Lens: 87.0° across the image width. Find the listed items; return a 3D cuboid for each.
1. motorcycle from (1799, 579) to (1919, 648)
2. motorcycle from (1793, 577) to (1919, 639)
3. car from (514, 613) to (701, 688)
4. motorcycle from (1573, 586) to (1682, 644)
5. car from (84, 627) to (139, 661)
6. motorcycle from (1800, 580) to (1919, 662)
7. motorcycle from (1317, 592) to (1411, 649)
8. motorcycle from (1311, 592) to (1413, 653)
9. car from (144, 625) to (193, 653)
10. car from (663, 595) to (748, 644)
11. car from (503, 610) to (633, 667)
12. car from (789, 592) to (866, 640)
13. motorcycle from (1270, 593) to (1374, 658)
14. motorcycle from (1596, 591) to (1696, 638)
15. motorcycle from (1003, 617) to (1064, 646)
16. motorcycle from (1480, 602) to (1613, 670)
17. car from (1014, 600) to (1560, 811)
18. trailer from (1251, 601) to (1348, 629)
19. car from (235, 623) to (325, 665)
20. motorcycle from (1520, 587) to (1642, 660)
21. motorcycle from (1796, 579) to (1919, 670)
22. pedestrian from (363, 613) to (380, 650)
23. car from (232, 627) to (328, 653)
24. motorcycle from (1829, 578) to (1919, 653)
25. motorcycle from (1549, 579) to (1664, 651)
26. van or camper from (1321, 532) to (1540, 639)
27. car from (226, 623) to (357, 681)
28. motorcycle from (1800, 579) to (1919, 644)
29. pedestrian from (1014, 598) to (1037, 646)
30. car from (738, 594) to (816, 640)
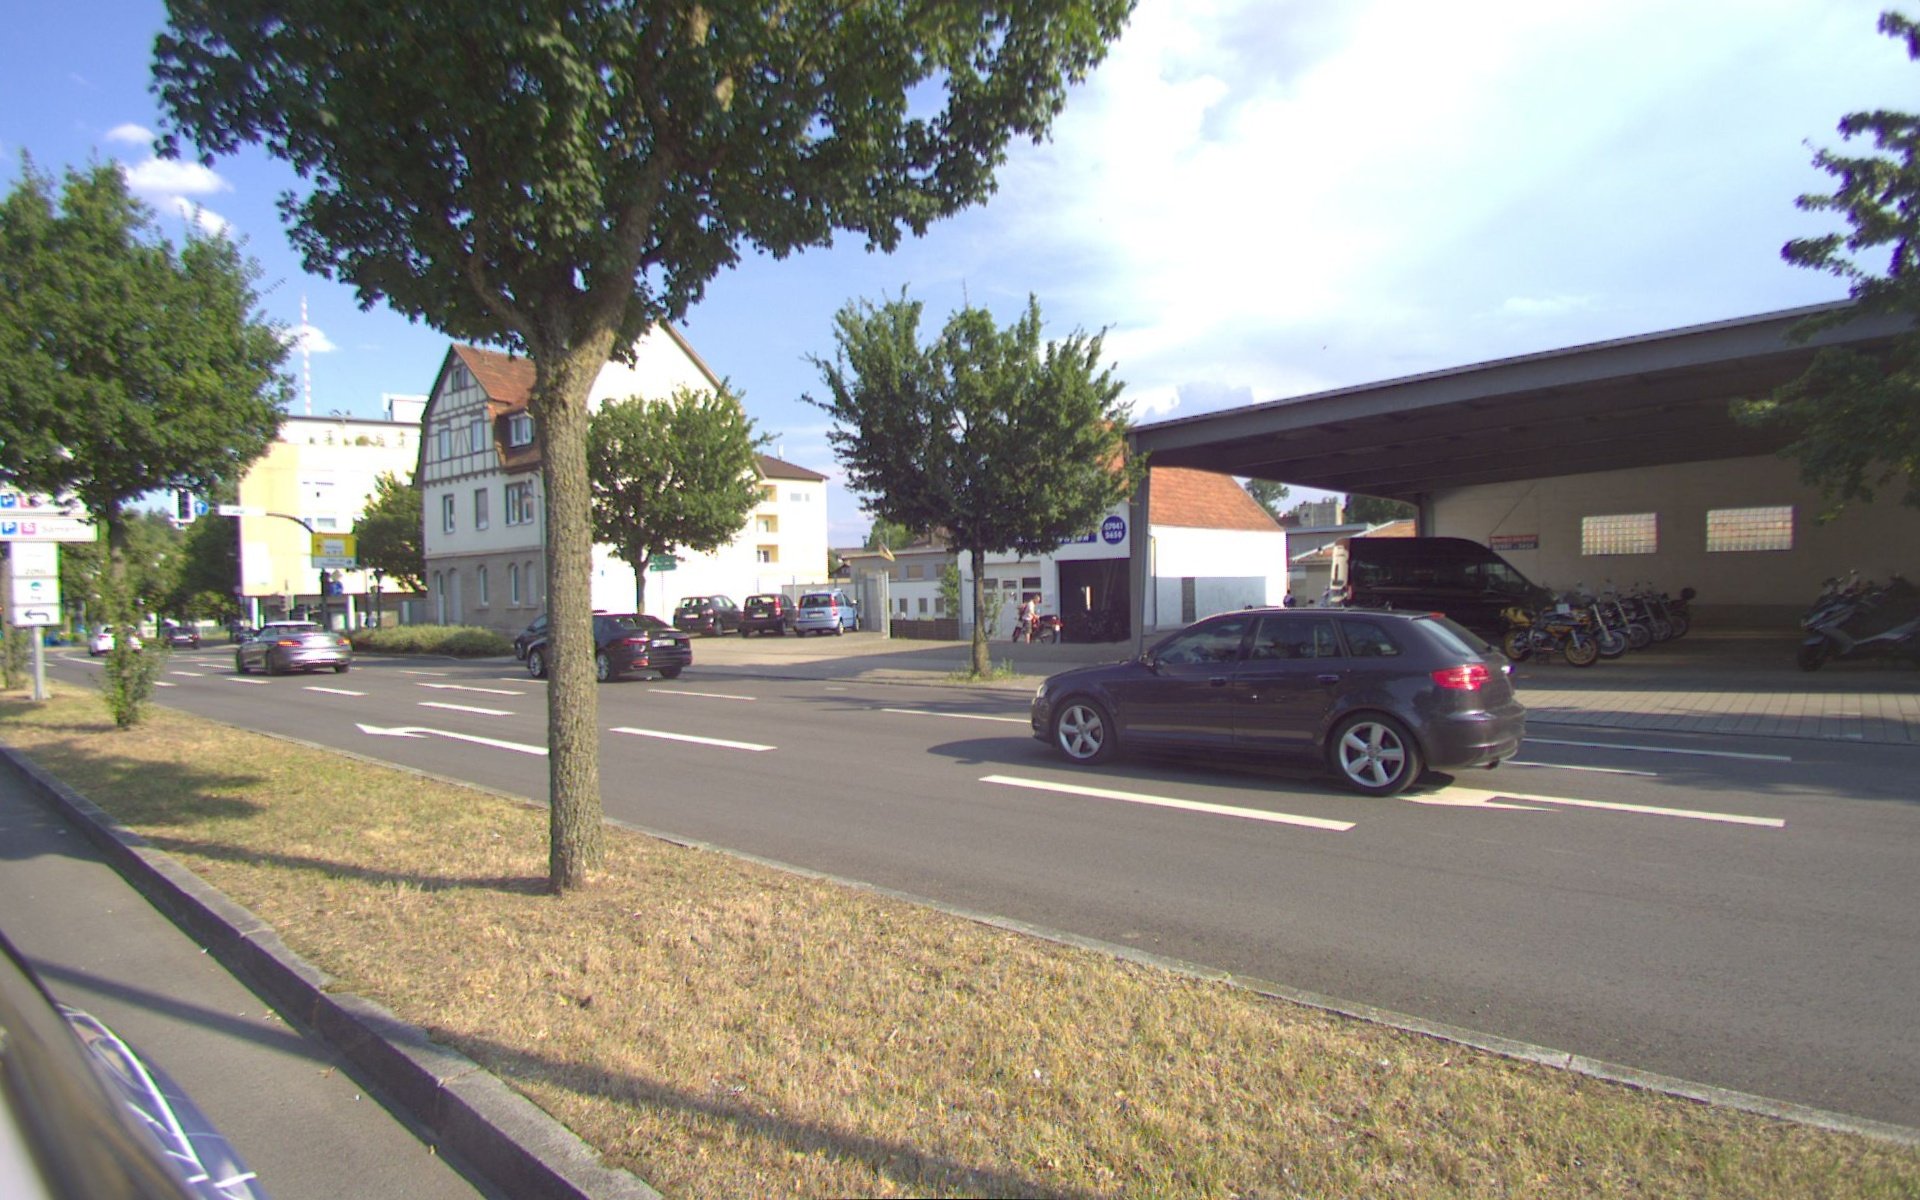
[{"bbox_3d":[17.969,0.269,19.994,2.068,1.317,0.581,-1,0,12],"label":"motorcycle"},{"bbox_3d":[19.913,0.177,22.526,2.068,1.317,0.561,-1,0,12],"label":"motorcycle"},{"bbox_3d":[-7.784,1.043,22.141,4.642,1.432,1.824,-1,0,41],"label":"car"},{"bbox_3d":[15.438,0.344,23.481,0.636,1.268,2.161,-1,0,-19],"label":"motorcycle"},{"bbox_3d":[-40.099,2.044,47.798,1.780,1.508,3.959,-1,0,-43],"label":"car"},{"bbox_3d":[15.267,0.342,16.737,2.068,1.317,0.561,-1,0,12],"label":"motorcycle"},{"bbox_3d":[9.791,0.490,24.551,1.982,1.321,0.649,-1,0,5],"label":"motorcycle"},{"bbox_3d":[9.023,0.498,22.771,1.982,1.321,0.649,-1,0,5],"label":"motorcycle"},{"bbox_3d":[-46.264,2.266,59.146,1.786,1.508,4.248,-1,0,-45],"label":"car"},{"bbox_3d":[-9.424,0.680,37.800,1.747,1.563,3.992,-2,1,7],"label":"car"},{"bbox_3d":[-11.738,1.115,30.160,4.193,1.454,1.816,-1,3,41],"label":"car"},{"bbox_3d":[-4.602,0.541,35.736,1.746,1.564,3.992,-1,0,7],"label":"car"},{"bbox_3d":[7.555,0.543,21.188,1.991,1.321,0.665,-1,0,18],"label":"motorcycle"},{"bbox_3d":[17.206,0.357,25.436,0.553,1.131,2.161,-1,0,-19],"label":"motorcycle"},{"bbox_3d":[2.404,1.020,33.355,2.212,0.927,0.500,-1,0,45],"label":"motorcycle"},{"bbox_3d":[10.443,0.607,18.130,0.620,1.132,2.161,-1,0,-19],"label":"motorcycle"},{"bbox_3d":[2.639,0.737,8.748,4.186,1.397,1.628,-1,0,40],"label":"car"},{"bbox_3d":[12.516,0.533,37.254,2.449,0.831,3.152,-1,2,38],"label":"trailer"},{"bbox_3d":[-26.476,1.672,39.335,4.707,1.473,1.669,-1,0,40],"label":"car"},{"bbox_3d":[12.115,0.439,19.843,0.553,1.340,2.161,-1,0,-19],"label":"motorcycle"},{"bbox_3d":[13.886,0.362,15.130,2.093,1.317,0.561,-1,0,12],"label":"motorcycle"},{"bbox_3d":[-32.237,1.740,55.454,0.688,1.997,0.590,-1,0,-21],"label":"pedestrian"},{"bbox_3d":[-41.059,2.387,61.162,4.594,1.364,1.770,-1,0,-41],"label":"car"},{"bbox_3d":[17.103,0.274,18.278,2.068,1.317,0.621,-1,0,12],"label":"motorcycle"},{"bbox_3d":[13.797,0.308,21.695,0.584,1.459,2.161,-1,0,-19],"label":"motorcycle"},{"bbox_3d":[12.696,-0.370,27.613,4.979,2.700,1.995,-1,0,8],"label":"van or camper"},{"bbox_3d":[-17.797,1.320,26.849,4.476,1.359,1.762,-1,0,41],"label":"car"},{"bbox_3d":[18.959,0.233,21.171,2.068,1.317,0.561,-1,0,12],"label":"motorcycle"},{"bbox_3d":[2.137,0.705,32.857,0.644,1.535,0.674,-1,0,-2],"label":"pedestrian"},{"bbox_3d":[-6.682,0.595,37.385,1.746,1.564,3.992,-1,0,7],"label":"car"}]
